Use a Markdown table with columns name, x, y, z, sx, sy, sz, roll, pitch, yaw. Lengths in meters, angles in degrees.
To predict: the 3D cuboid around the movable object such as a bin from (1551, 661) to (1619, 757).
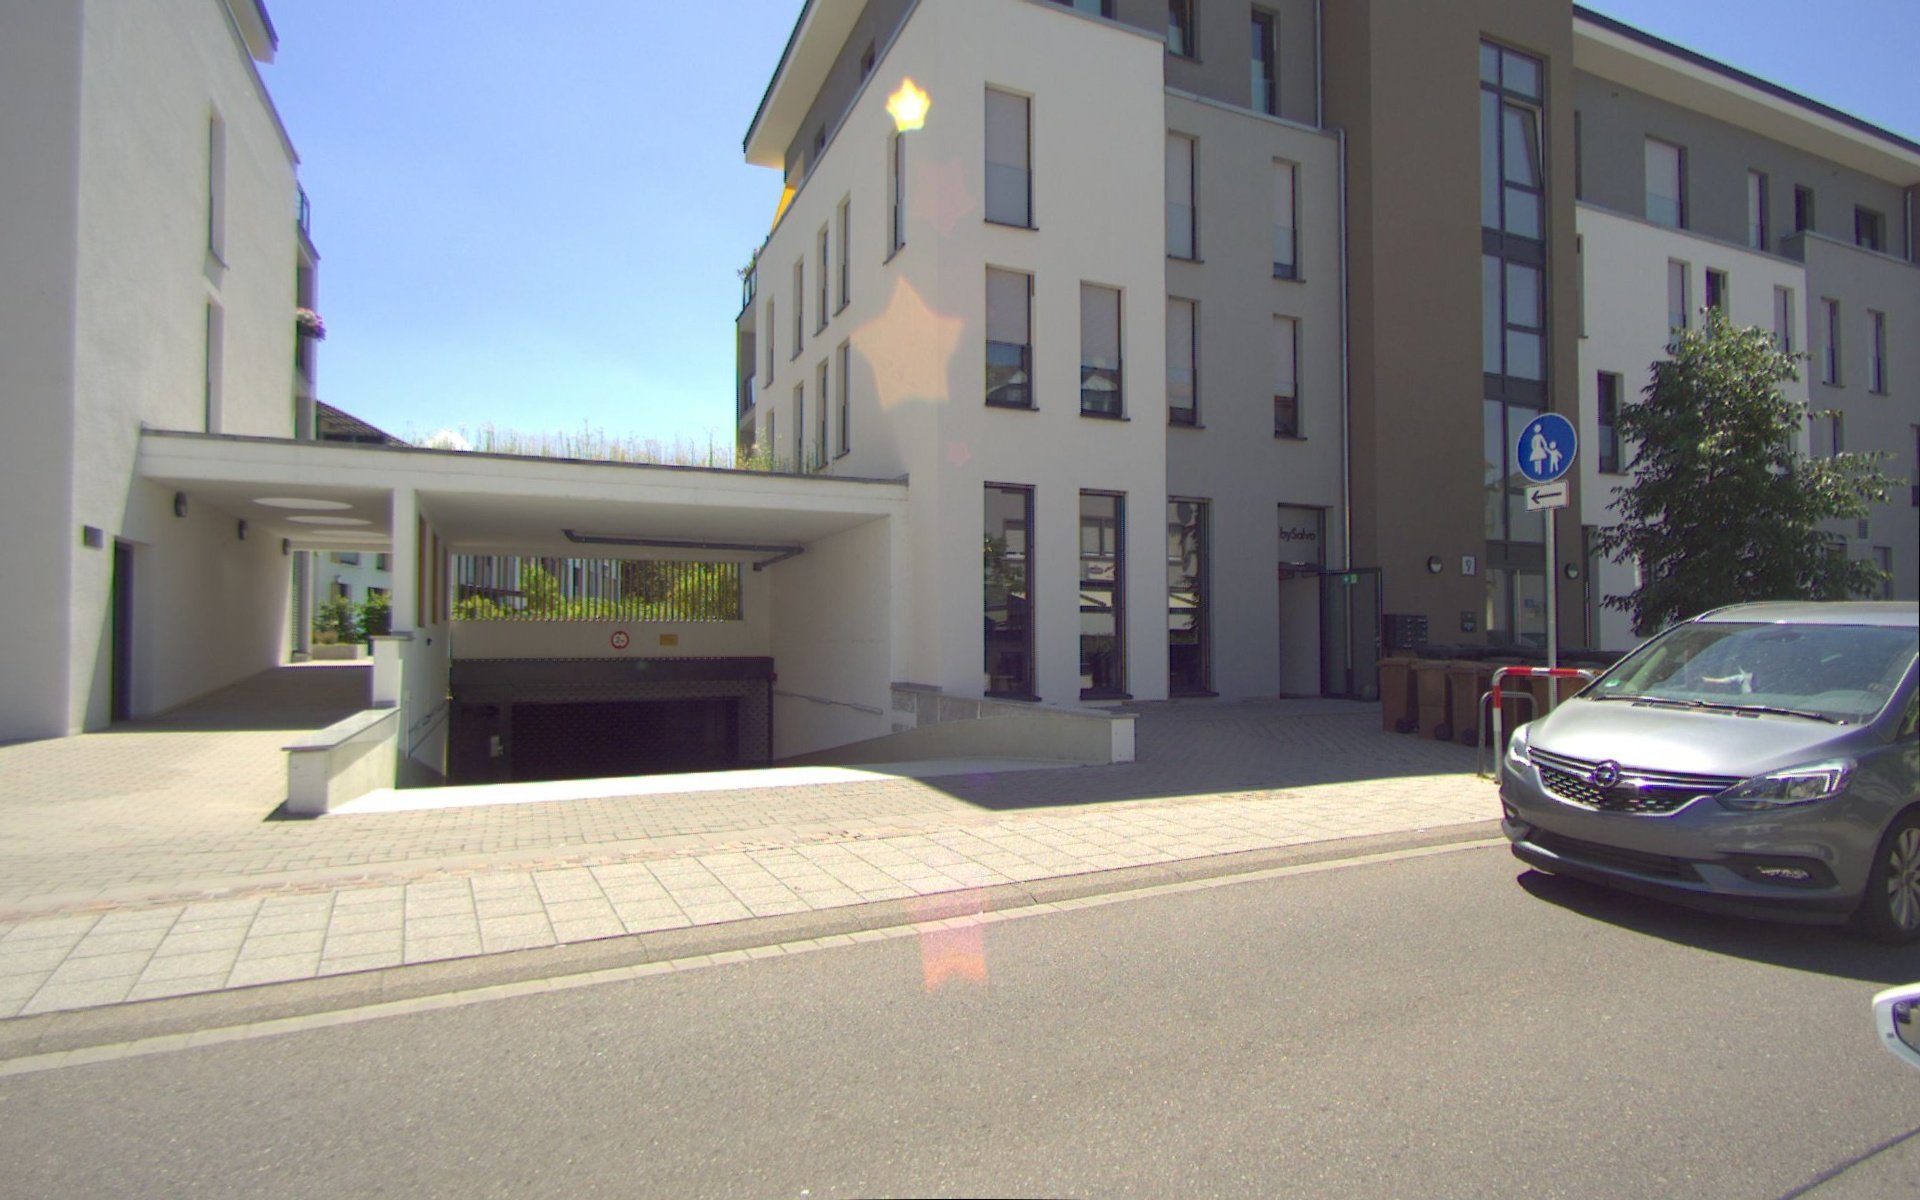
| name | x | y | z | sx | sy | sz | roll | pitch | yaw |
| --- | --- | --- | --- | --- | --- | --- | --- | --- | --- |
| movable object such as a bin | 6.898 | 1.187 | 11.094 | 0.548 | 1.011 | 0.402 | 1 | -2 | -26 |

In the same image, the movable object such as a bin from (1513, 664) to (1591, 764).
| name | x | y | z | sx | sy | sz | roll | pitch | yaw |
| --- | --- | --- | --- | --- | --- | --- | --- | --- | --- |
| movable object such as a bin | 6.317 | 1.197 | 10.721 | 0.580 | 1.011 | 0.481 | 1 | -2 | -27 |

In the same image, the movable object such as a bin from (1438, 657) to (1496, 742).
| name | x | y | z | sx | sy | sz | roll | pitch | yaw |
| --- | --- | --- | --- | --- | --- | --- | --- | --- | --- |
| movable object such as a bin | 6.297 | 1.224 | 12.480 | 0.548 | 1.011 | 0.402 | 1 | -2 | -26 |

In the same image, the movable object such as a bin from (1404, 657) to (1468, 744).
| name | x | y | z | sx | sy | sz | roll | pitch | yaw |
| --- | --- | --- | --- | --- | --- | --- | --- | --- | --- |
| movable object such as a bin | 5.774 | 1.203 | 12.200 | 0.519 | 1.011 | 0.481 | 1 | -2 | -26 |

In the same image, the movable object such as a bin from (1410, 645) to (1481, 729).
| name | x | y | z | sx | sy | sz | roll | pitch | yaw |
| --- | --- | --- | --- | --- | --- | --- | --- | --- | --- |
| movable object such as a bin | 6.738 | 1.188 | 13.941 | 0.643 | 1.110 | 0.686 | 1 | -2 | -41 |

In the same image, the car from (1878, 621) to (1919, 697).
| name | x | y | z | sx | sy | sz | roll | pitch | yaw |
| --- | --- | --- | --- | --- | --- | --- | --- | --- | --- |
| car | 19.698 | 1.142 | 18.315 | 1.883 | 1.440 | 3.977 | 1 | -1 | -23 |

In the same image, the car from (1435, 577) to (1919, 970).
| name | x | y | z | sx | sy | sz | roll | pitch | yaw |
| --- | --- | --- | --- | --- | --- | --- | --- | --- | --- |
| car | 5.163 | 0.805 | 6.084 | 4.178 | 1.680 | 1.937 | 2 | -1 | -25 |

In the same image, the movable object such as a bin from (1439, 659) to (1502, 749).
| name | x | y | z | sx | sy | sz | roll | pitch | yaw |
| --- | --- | --- | --- | --- | --- | --- | --- | --- | --- |
| movable object such as a bin | 5.961 | 1.202 | 11.735 | 0.516 | 1.011 | 0.423 | 1 | -2 | -25 |

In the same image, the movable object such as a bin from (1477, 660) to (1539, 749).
| name | x | y | z | sx | sy | sz | roll | pitch | yaw |
| --- | --- | --- | --- | --- | --- | --- | --- | --- | --- |
| movable object such as a bin | 6.505 | 1.228 | 11.933 | 0.548 | 1.011 | 0.402 | 1 | -2 | -26 |

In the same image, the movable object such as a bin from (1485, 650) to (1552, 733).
| name | x | y | z | sx | sy | sz | roll | pitch | yaw |
| --- | --- | --- | --- | --- | --- | --- | --- | --- | --- |
| movable object such as a bin | 7.396 | 1.191 | 13.298 | 0.578 | 1.053 | 0.614 | 1 | -2 | -41 |

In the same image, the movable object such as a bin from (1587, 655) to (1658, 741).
| name | x | y | z | sx | sy | sz | roll | pitch | yaw |
| --- | --- | --- | --- | --- | --- | --- | --- | --- | --- |
| movable object such as a bin | 8.393 | 1.226 | 12.728 | 0.553 | 1.033 | 0.552 | 1 | -2 | -29 |

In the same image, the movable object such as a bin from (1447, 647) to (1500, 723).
| name | x | y | z | sx | sy | sz | roll | pitch | yaw |
| --- | --- | --- | --- | --- | --- | --- | --- | --- | --- |
| movable object such as a bin | 7.404 | 1.207 | 14.489 | 0.478 | 1.053 | 0.549 | 1 | -2 | -41 |

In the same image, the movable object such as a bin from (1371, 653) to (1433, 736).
| name | x | y | z | sx | sy | sz | roll | pitch | yaw |
| --- | --- | --- | --- | --- | --- | --- | --- | --- | --- |
| movable object such as a bin | 5.657 | 1.196 | 12.866 | 0.581 | 1.011 | 0.480 | 1 | -2 | -32 |

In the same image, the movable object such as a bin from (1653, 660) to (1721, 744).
| name | x | y | z | sx | sy | sz | roll | pitch | yaw |
| --- | --- | --- | --- | --- | --- | --- | --- | --- | --- |
| movable object such as a bin | 9.187 | 1.272 | 12.705 | 0.421 | 1.011 | 0.553 | 1 | -2 | -23 |

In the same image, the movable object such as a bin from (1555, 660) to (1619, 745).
| name | x | y | z | sx | sy | sz | roll | pitch | yaw |
| --- | --- | --- | --- | --- | --- | --- | --- | --- | --- |
| movable object such as a bin | 7.761 | 1.254 | 12.439 | 0.401 | 1.011 | 0.550 | 1 | -3 | -37 |

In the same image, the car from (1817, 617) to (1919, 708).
| name | x | y | z | sx | sy | sz | roll | pitch | yaw |
| --- | --- | --- | --- | --- | --- | --- | --- | --- | --- |
| car | 17.692 | 1.092 | 17.348 | 1.972 | 1.535 | 3.977 | 0 | 0 | -24 |

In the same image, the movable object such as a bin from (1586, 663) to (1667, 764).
| name | x | y | z | sx | sy | sz | roll | pitch | yaw |
| --- | --- | --- | --- | --- | --- | --- | --- | --- | --- |
| movable object such as a bin | 7.054 | 1.183 | 10.639 | 0.580 | 1.011 | 0.481 | 1 | -2 | -26 |

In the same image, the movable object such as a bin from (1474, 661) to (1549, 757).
| name | x | y | z | sx | sy | sz | roll | pitch | yaw |
| --- | --- | --- | --- | --- | --- | --- | --- | --- | --- |
| movable object such as a bin | 6.156 | 1.200 | 11.220 | 0.580 | 1.011 | 0.481 | 1 | -2 | -25 |

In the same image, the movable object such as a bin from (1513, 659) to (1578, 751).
| name | x | y | z | sx | sy | sz | roll | pitch | yaw |
| --- | --- | --- | --- | --- | --- | --- | --- | --- | --- |
| movable object such as a bin | 6.716 | 1.187 | 11.517 | 0.548 | 1.011 | 0.402 | 1 | -2 | -26 |

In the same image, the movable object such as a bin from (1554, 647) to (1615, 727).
| name | x | y | z | sx | sy | sz | roll | pitch | yaw |
| --- | --- | --- | --- | --- | --- | --- | --- | --- | --- |
| movable object such as a bin | 8.605 | 1.180 | 13.841 | 0.546 | 1.053 | 0.570 | 1 | -2 | -41 |

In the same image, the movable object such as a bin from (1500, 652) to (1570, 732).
| name | x | y | z | sx | sy | sz | roll | pitch | yaw |
| --- | --- | --- | --- | --- | --- | --- | --- | --- | --- |
| movable object such as a bin | 7.870 | 1.241 | 13.757 | 0.600 | 1.053 | 0.669 | 1 | -2 | -41 |
